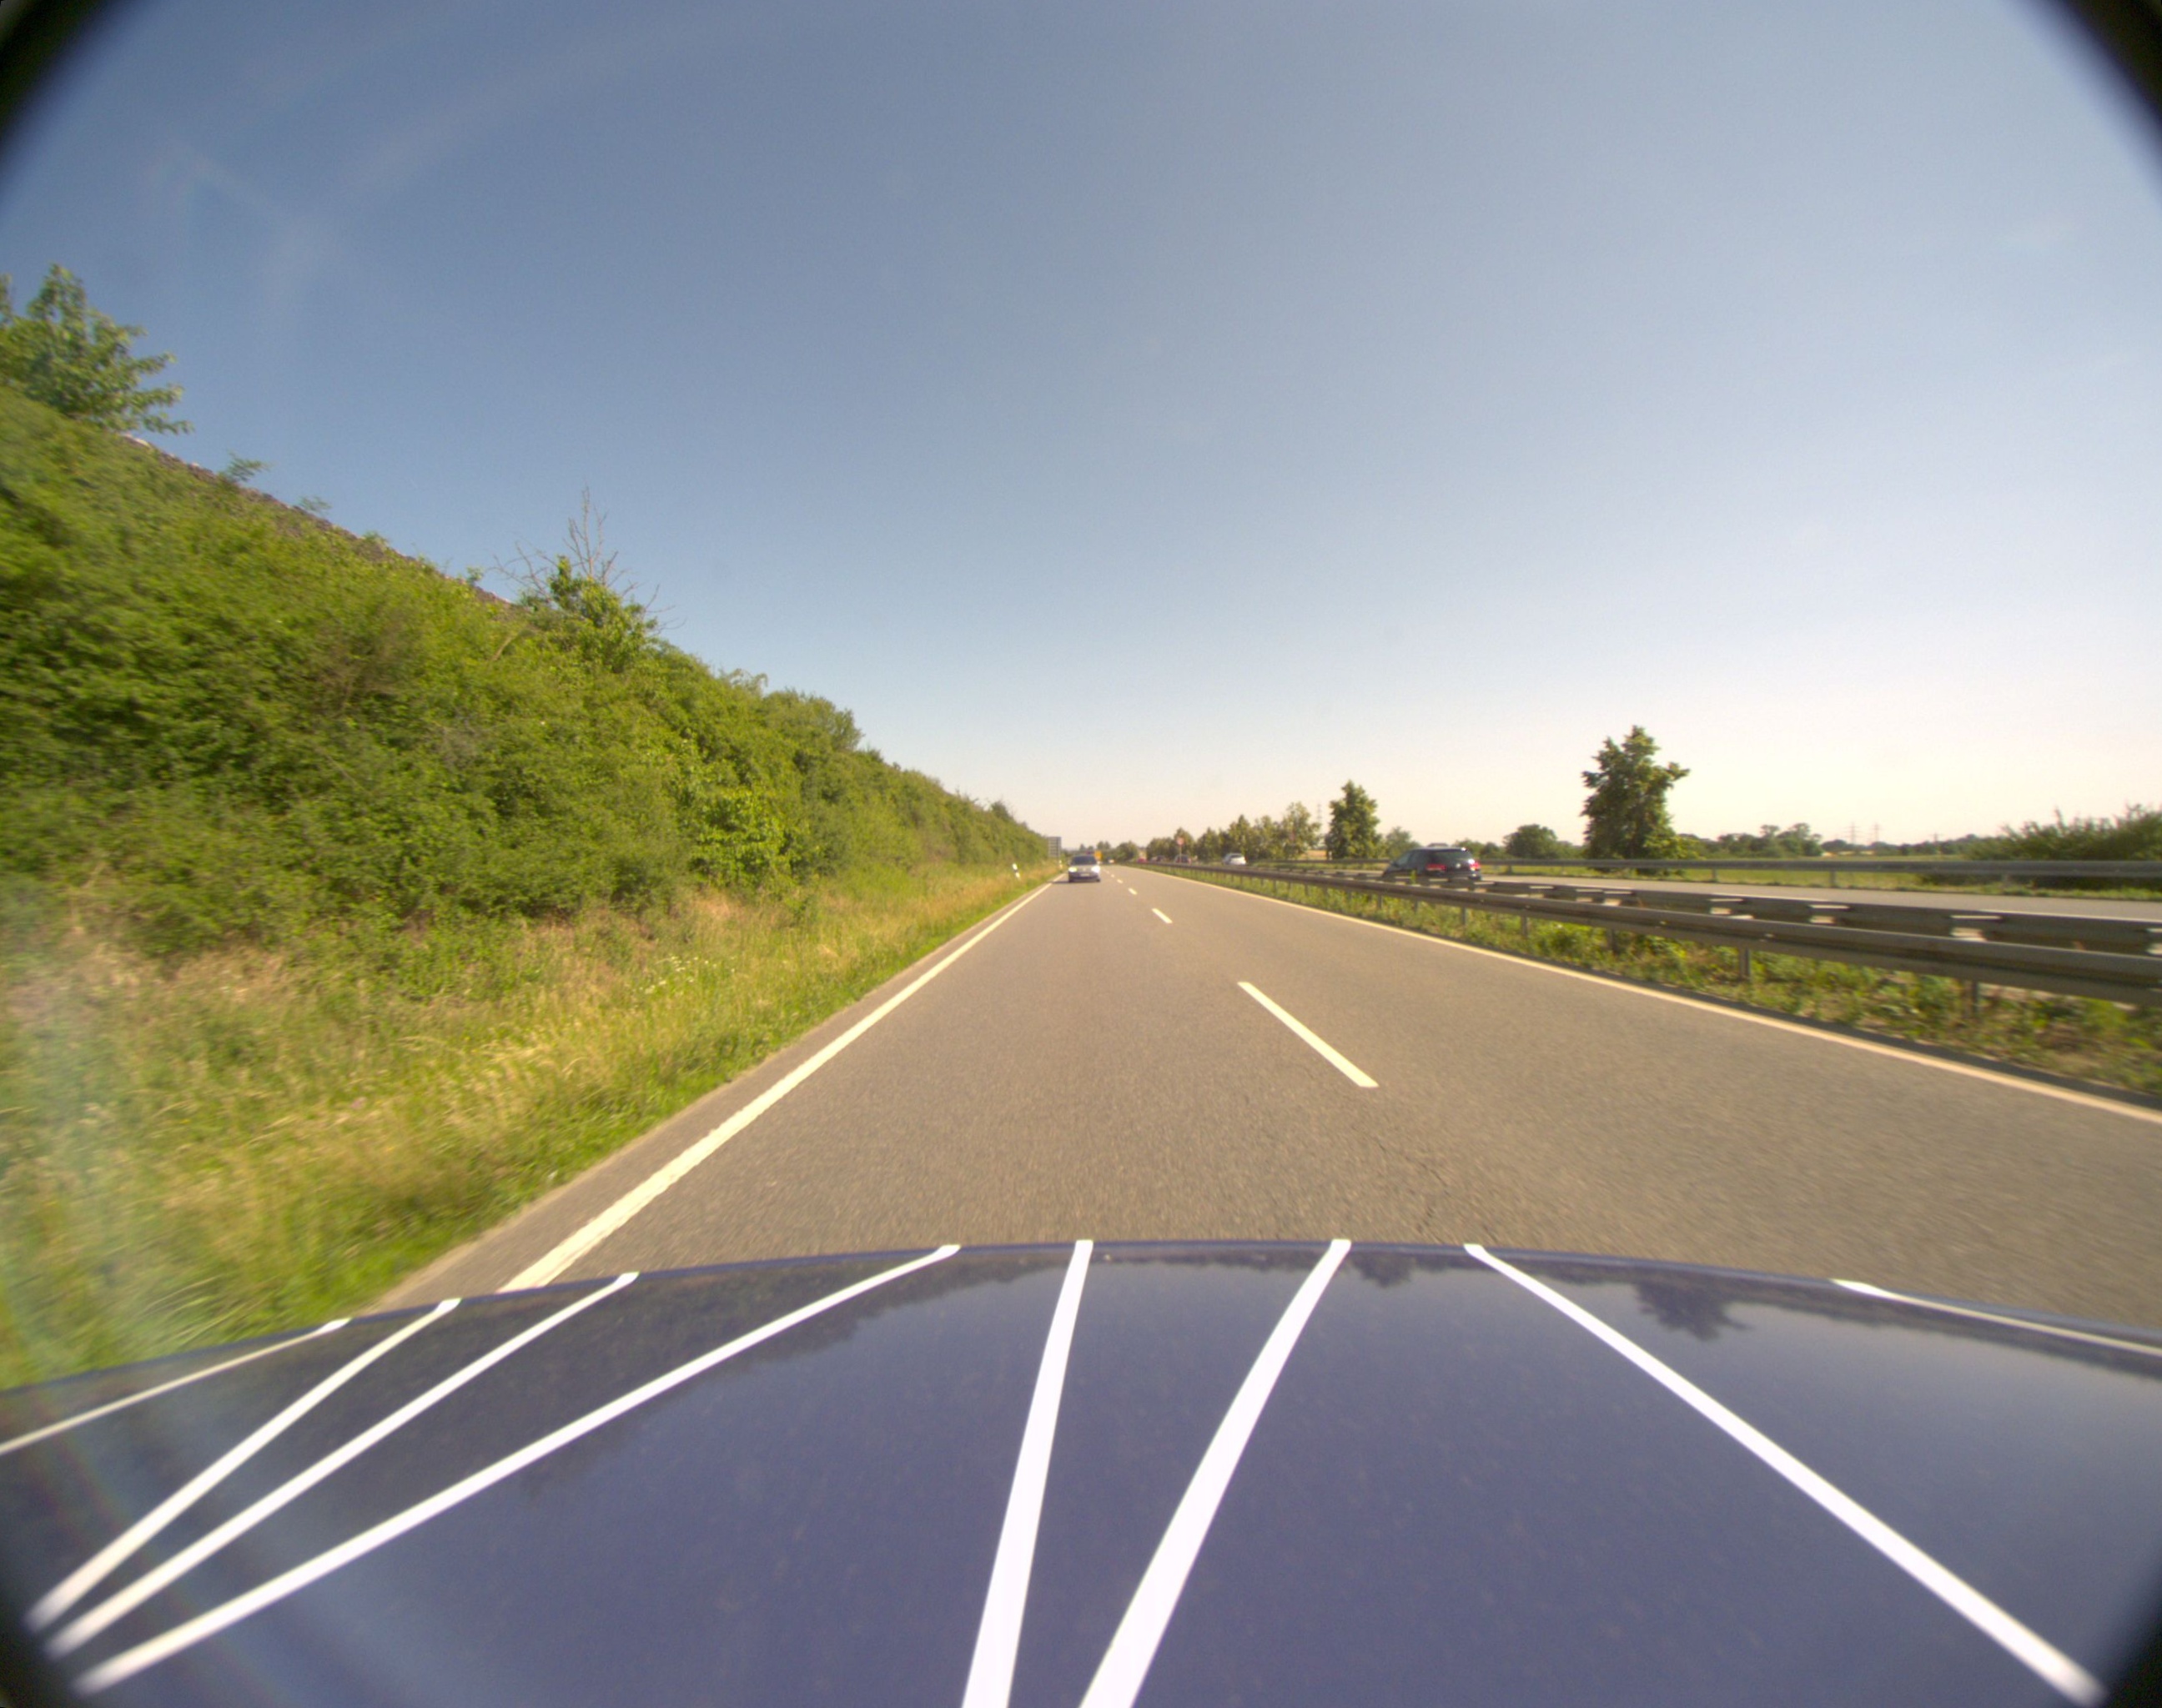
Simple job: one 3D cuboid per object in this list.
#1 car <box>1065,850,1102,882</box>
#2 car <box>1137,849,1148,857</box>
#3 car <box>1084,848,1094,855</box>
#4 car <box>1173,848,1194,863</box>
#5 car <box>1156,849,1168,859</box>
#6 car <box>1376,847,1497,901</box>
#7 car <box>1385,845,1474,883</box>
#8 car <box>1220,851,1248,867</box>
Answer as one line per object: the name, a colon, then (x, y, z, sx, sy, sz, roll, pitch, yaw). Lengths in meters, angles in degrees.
car: (0.174, 0.654, 43.359, 1.854, 1.635, 4.000, -1, 1, 3)
car: (12.323, -0.223, 152.883, 1.881, 1.484, 5.095, -2, 0, 1)
car: (1.586, -0.475, 142.701, 1.790, 1.212, 4.000, -2, 1, 1)
car: (11.467, 0.147, 85.225, 1.717, 1.461, 4.415, -4, 0, 1)
car: (14.657, -0.022, 137.278, 1.730, 1.586, 4.221, -2, 0, 1)
car: (11.163, 0.578, 24.222, 1.819, 1.464, 4.323, -3, 0, 1)
car: (14.591, 0.383, 32.095, 1.717, 1.442, 4.322, -2, 0, -1)
car: (14.870, 0.428, 74.096, 1.826, 1.388, 4.415, -4, 0, 1)
